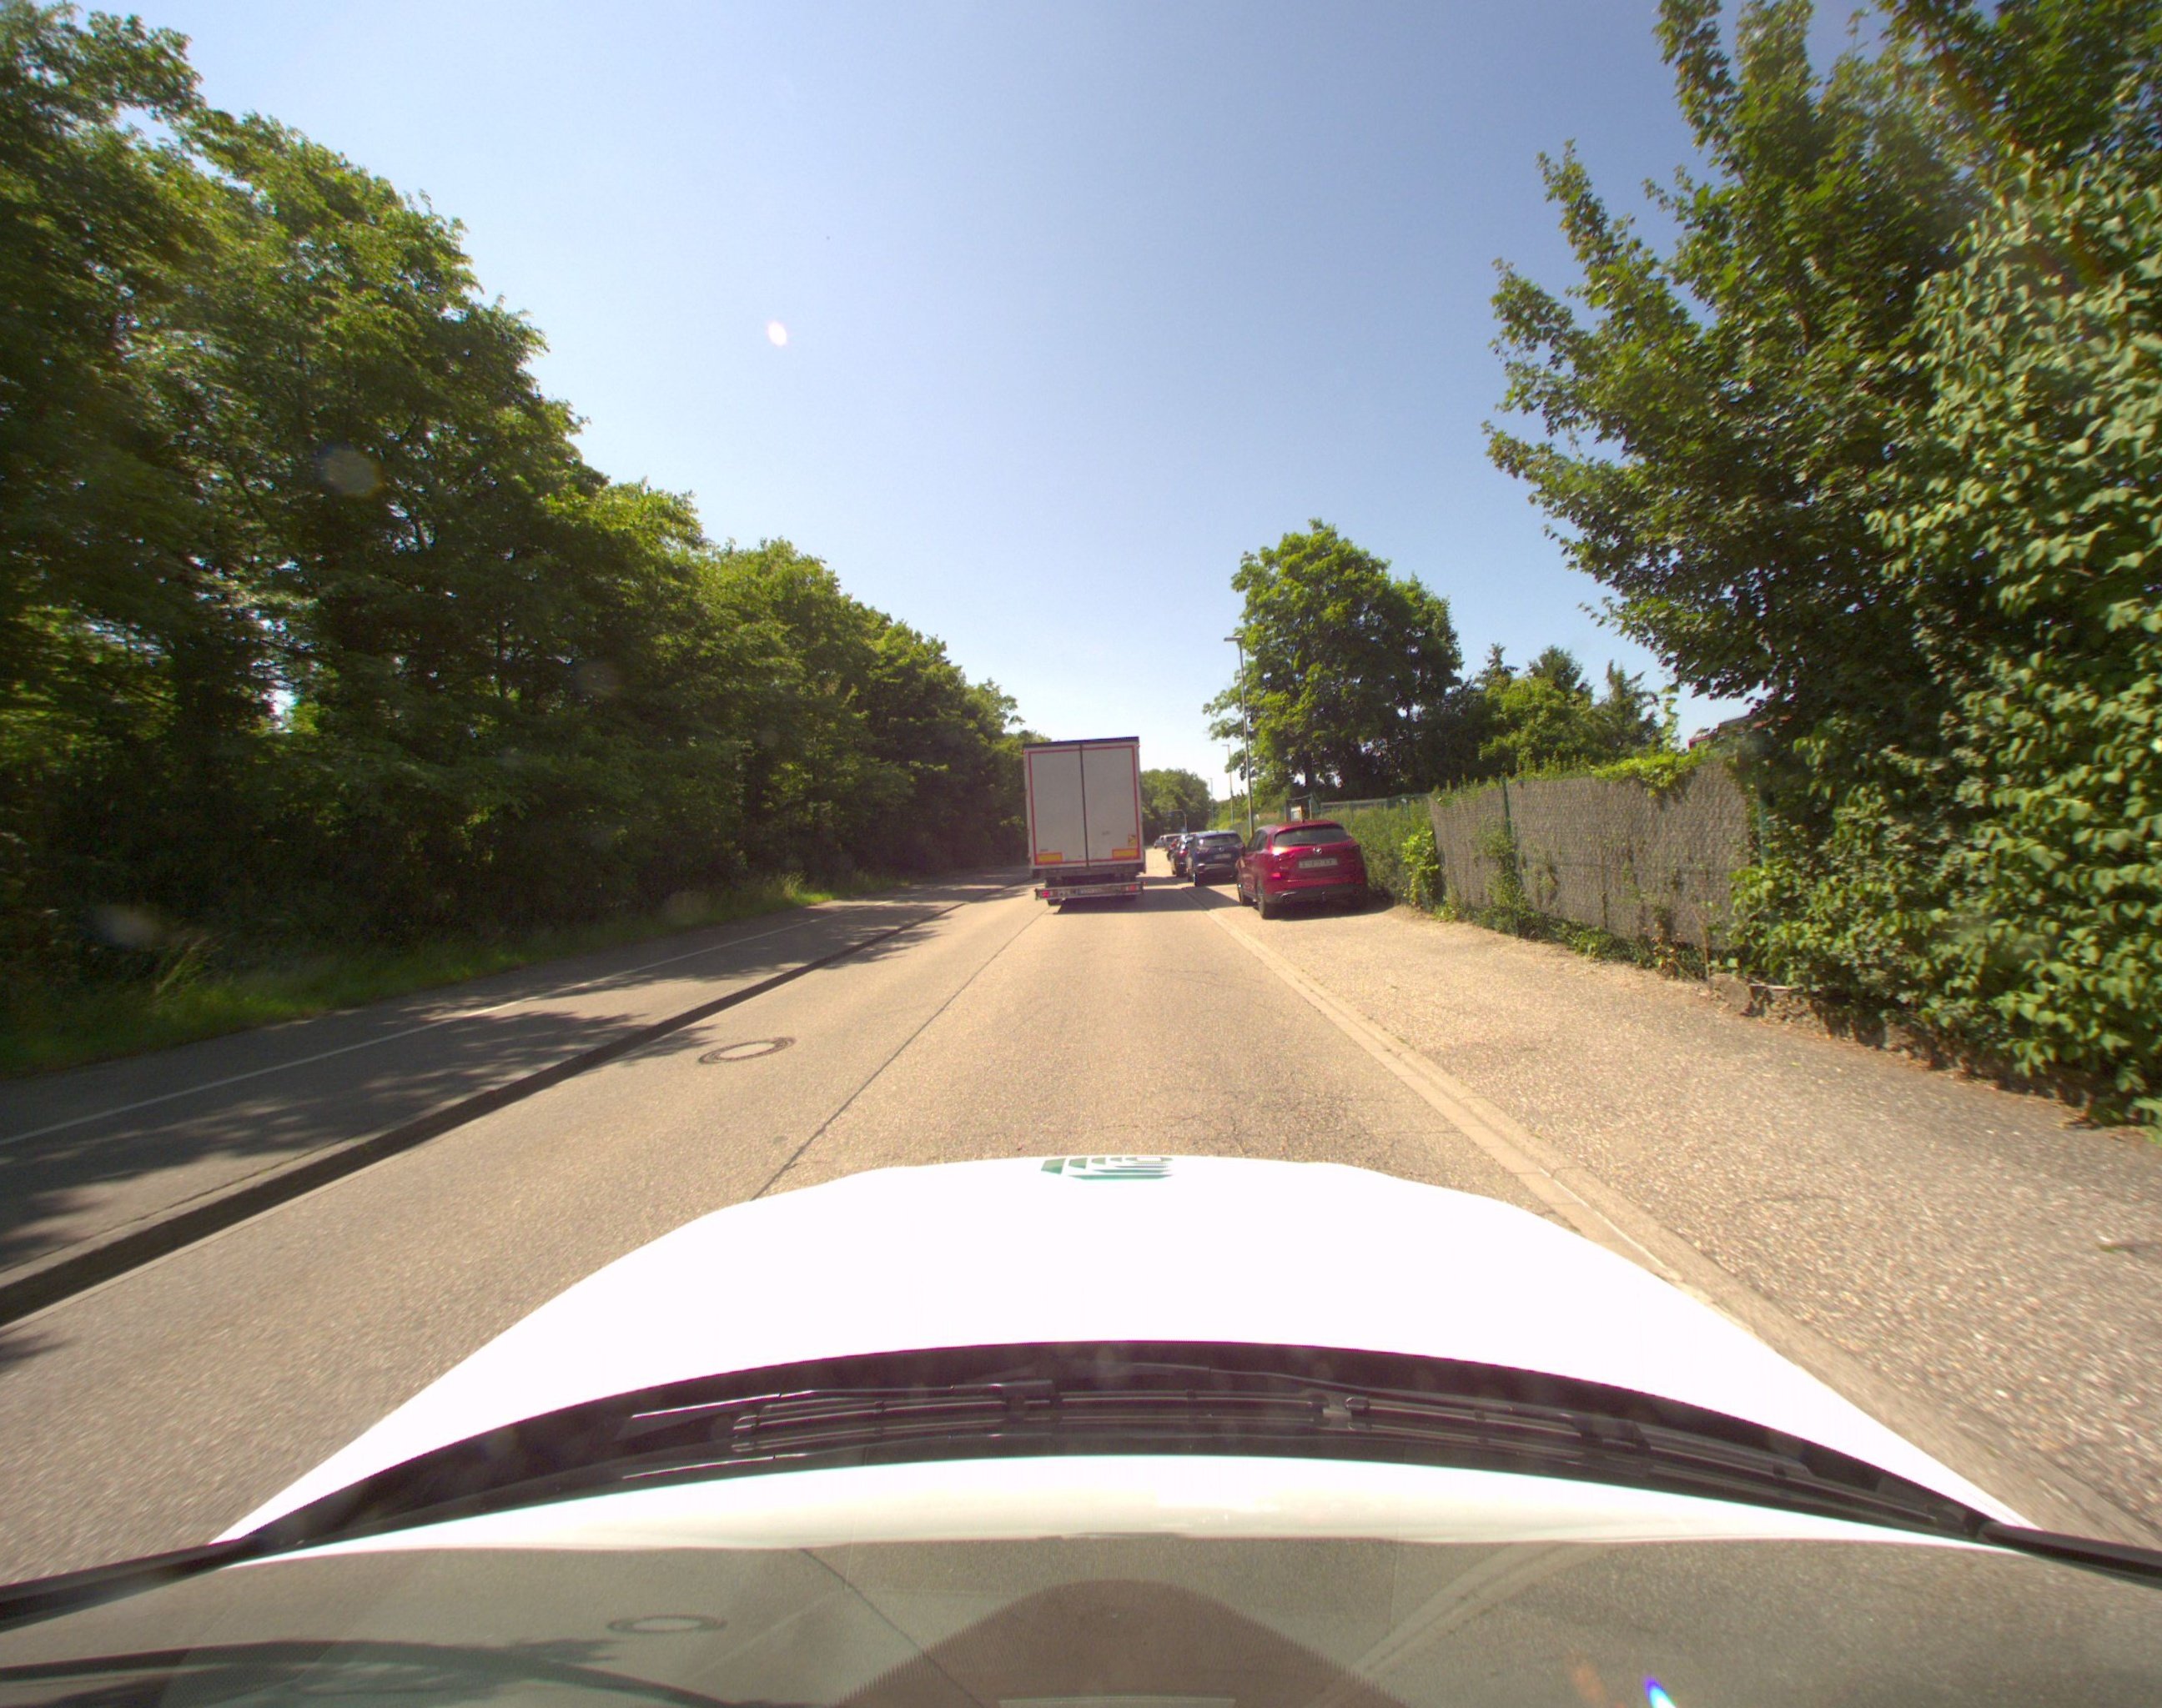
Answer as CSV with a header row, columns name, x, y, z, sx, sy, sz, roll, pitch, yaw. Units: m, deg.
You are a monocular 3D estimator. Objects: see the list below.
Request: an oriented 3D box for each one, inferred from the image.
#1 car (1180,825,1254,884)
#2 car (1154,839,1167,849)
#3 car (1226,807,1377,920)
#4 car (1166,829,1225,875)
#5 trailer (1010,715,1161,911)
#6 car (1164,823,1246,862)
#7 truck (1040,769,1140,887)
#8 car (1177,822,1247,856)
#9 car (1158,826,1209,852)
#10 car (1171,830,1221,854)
name,x,y,z,sx,sy,sz,roll,pitch,yaw
car,4.238,-0.048,25.975,1.782,1.603,4.133,-4,1,3
car,12.190,-1.526,124.462,1.770,1.486,4.010,-3,1,9
car,4.040,0.112,15.719,1.782,1.658,4.457,-7,1,3
car,4.465,-0.115,32.419,1.782,1.481,4.669,-7,1,3
trailer,0.219,-0.981,23.400,3.101,4.102,11.540,-3,1,1
car,7.197,-0.663,47.629,4.452,1.704,1.915,-7,1,3
truck,0.386,-0.911,29.812,3.102,3.724,6.416,-3,1,1
car,8.406,-0.956,52.555,4.236,1.698,1.857,-7,0,6
car,9.873,-1.461,78.650,4.597,1.848,2.000,-7,1,6
car,9.399,-1.032,66.904,3.900,1.478,1.848,-7,1,6
